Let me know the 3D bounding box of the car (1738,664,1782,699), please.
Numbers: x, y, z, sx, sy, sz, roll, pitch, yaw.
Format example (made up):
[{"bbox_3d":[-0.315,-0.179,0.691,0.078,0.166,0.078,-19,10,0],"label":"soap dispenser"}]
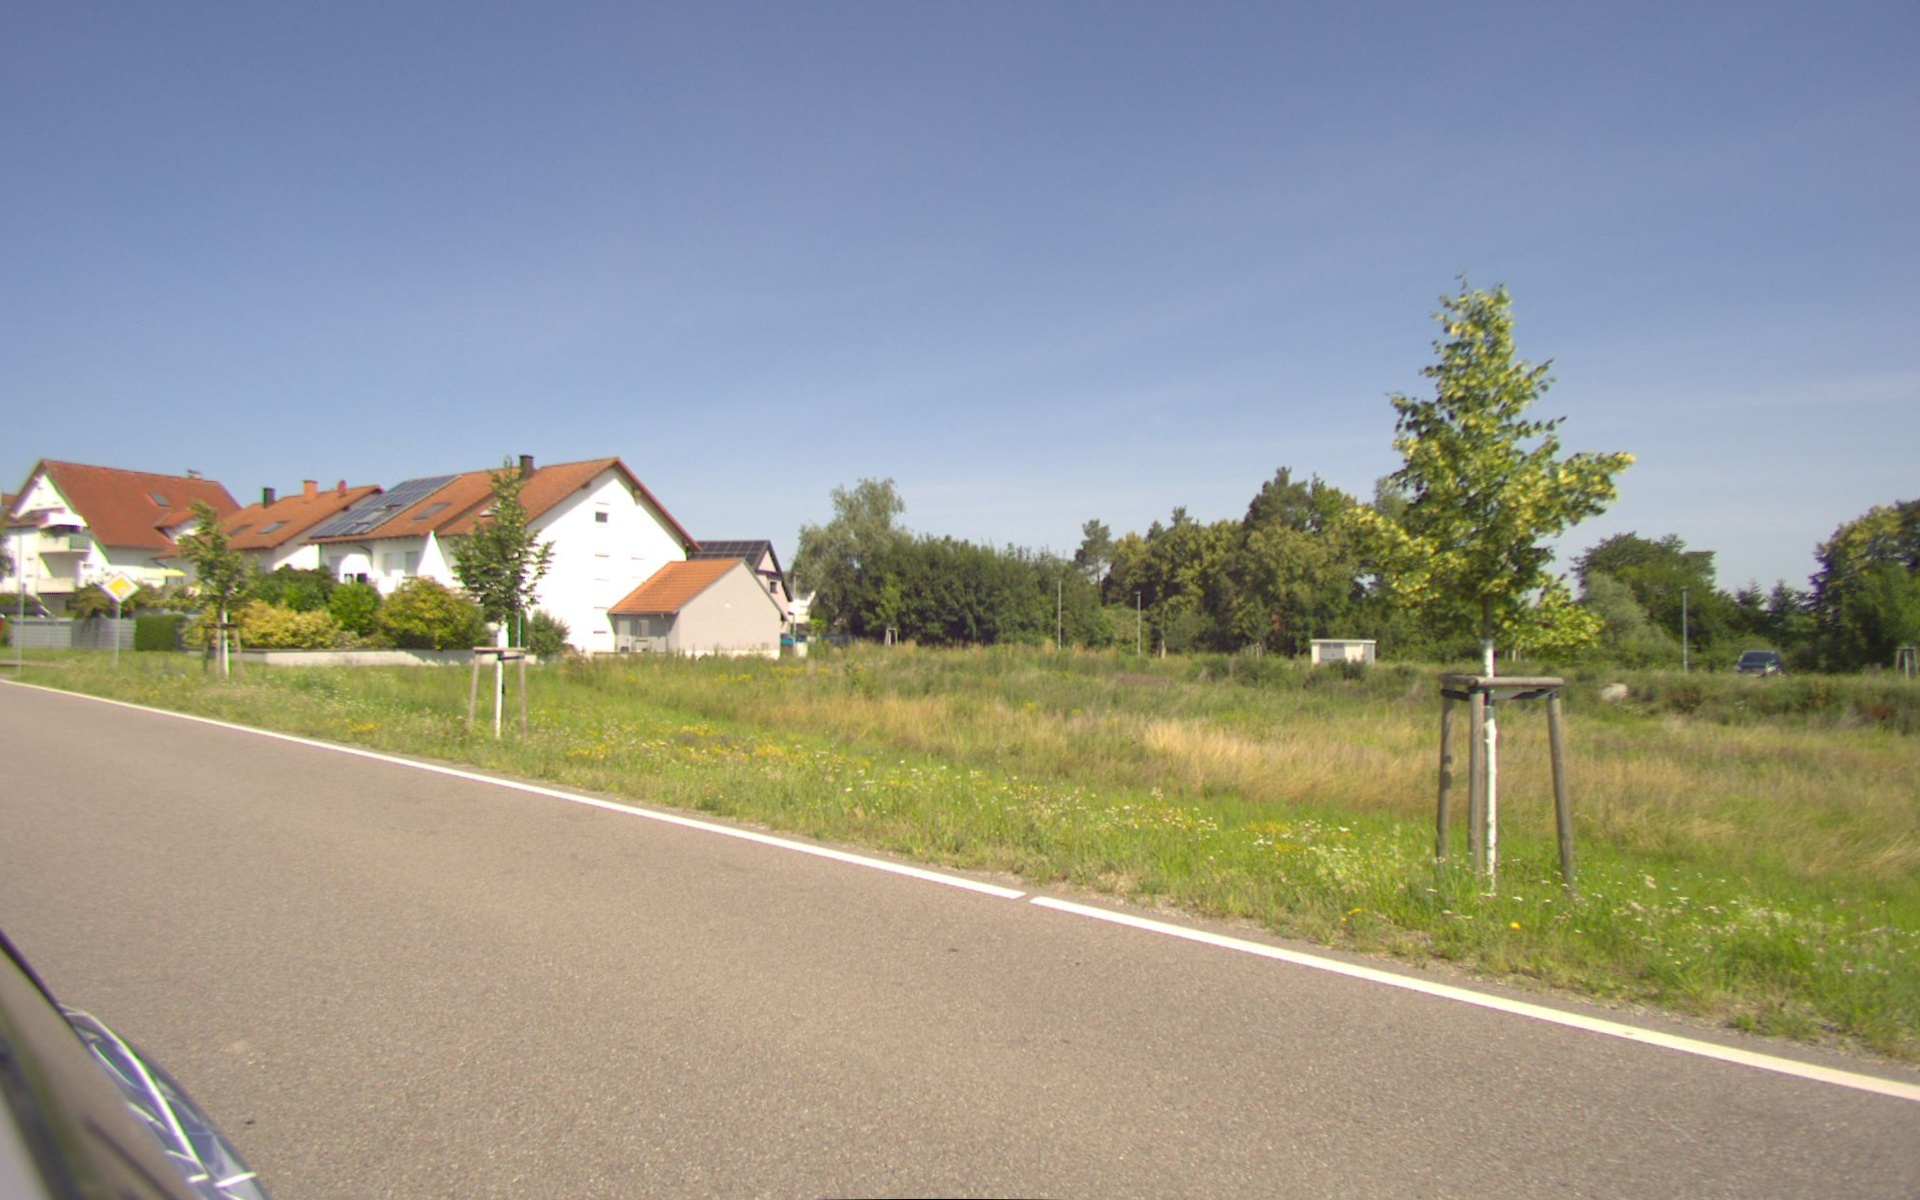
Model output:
[{"bbox_3d":[38.374,3.889,48.531,1.512,1.547,3.508,-1,-3,41],"label":"car"}]
